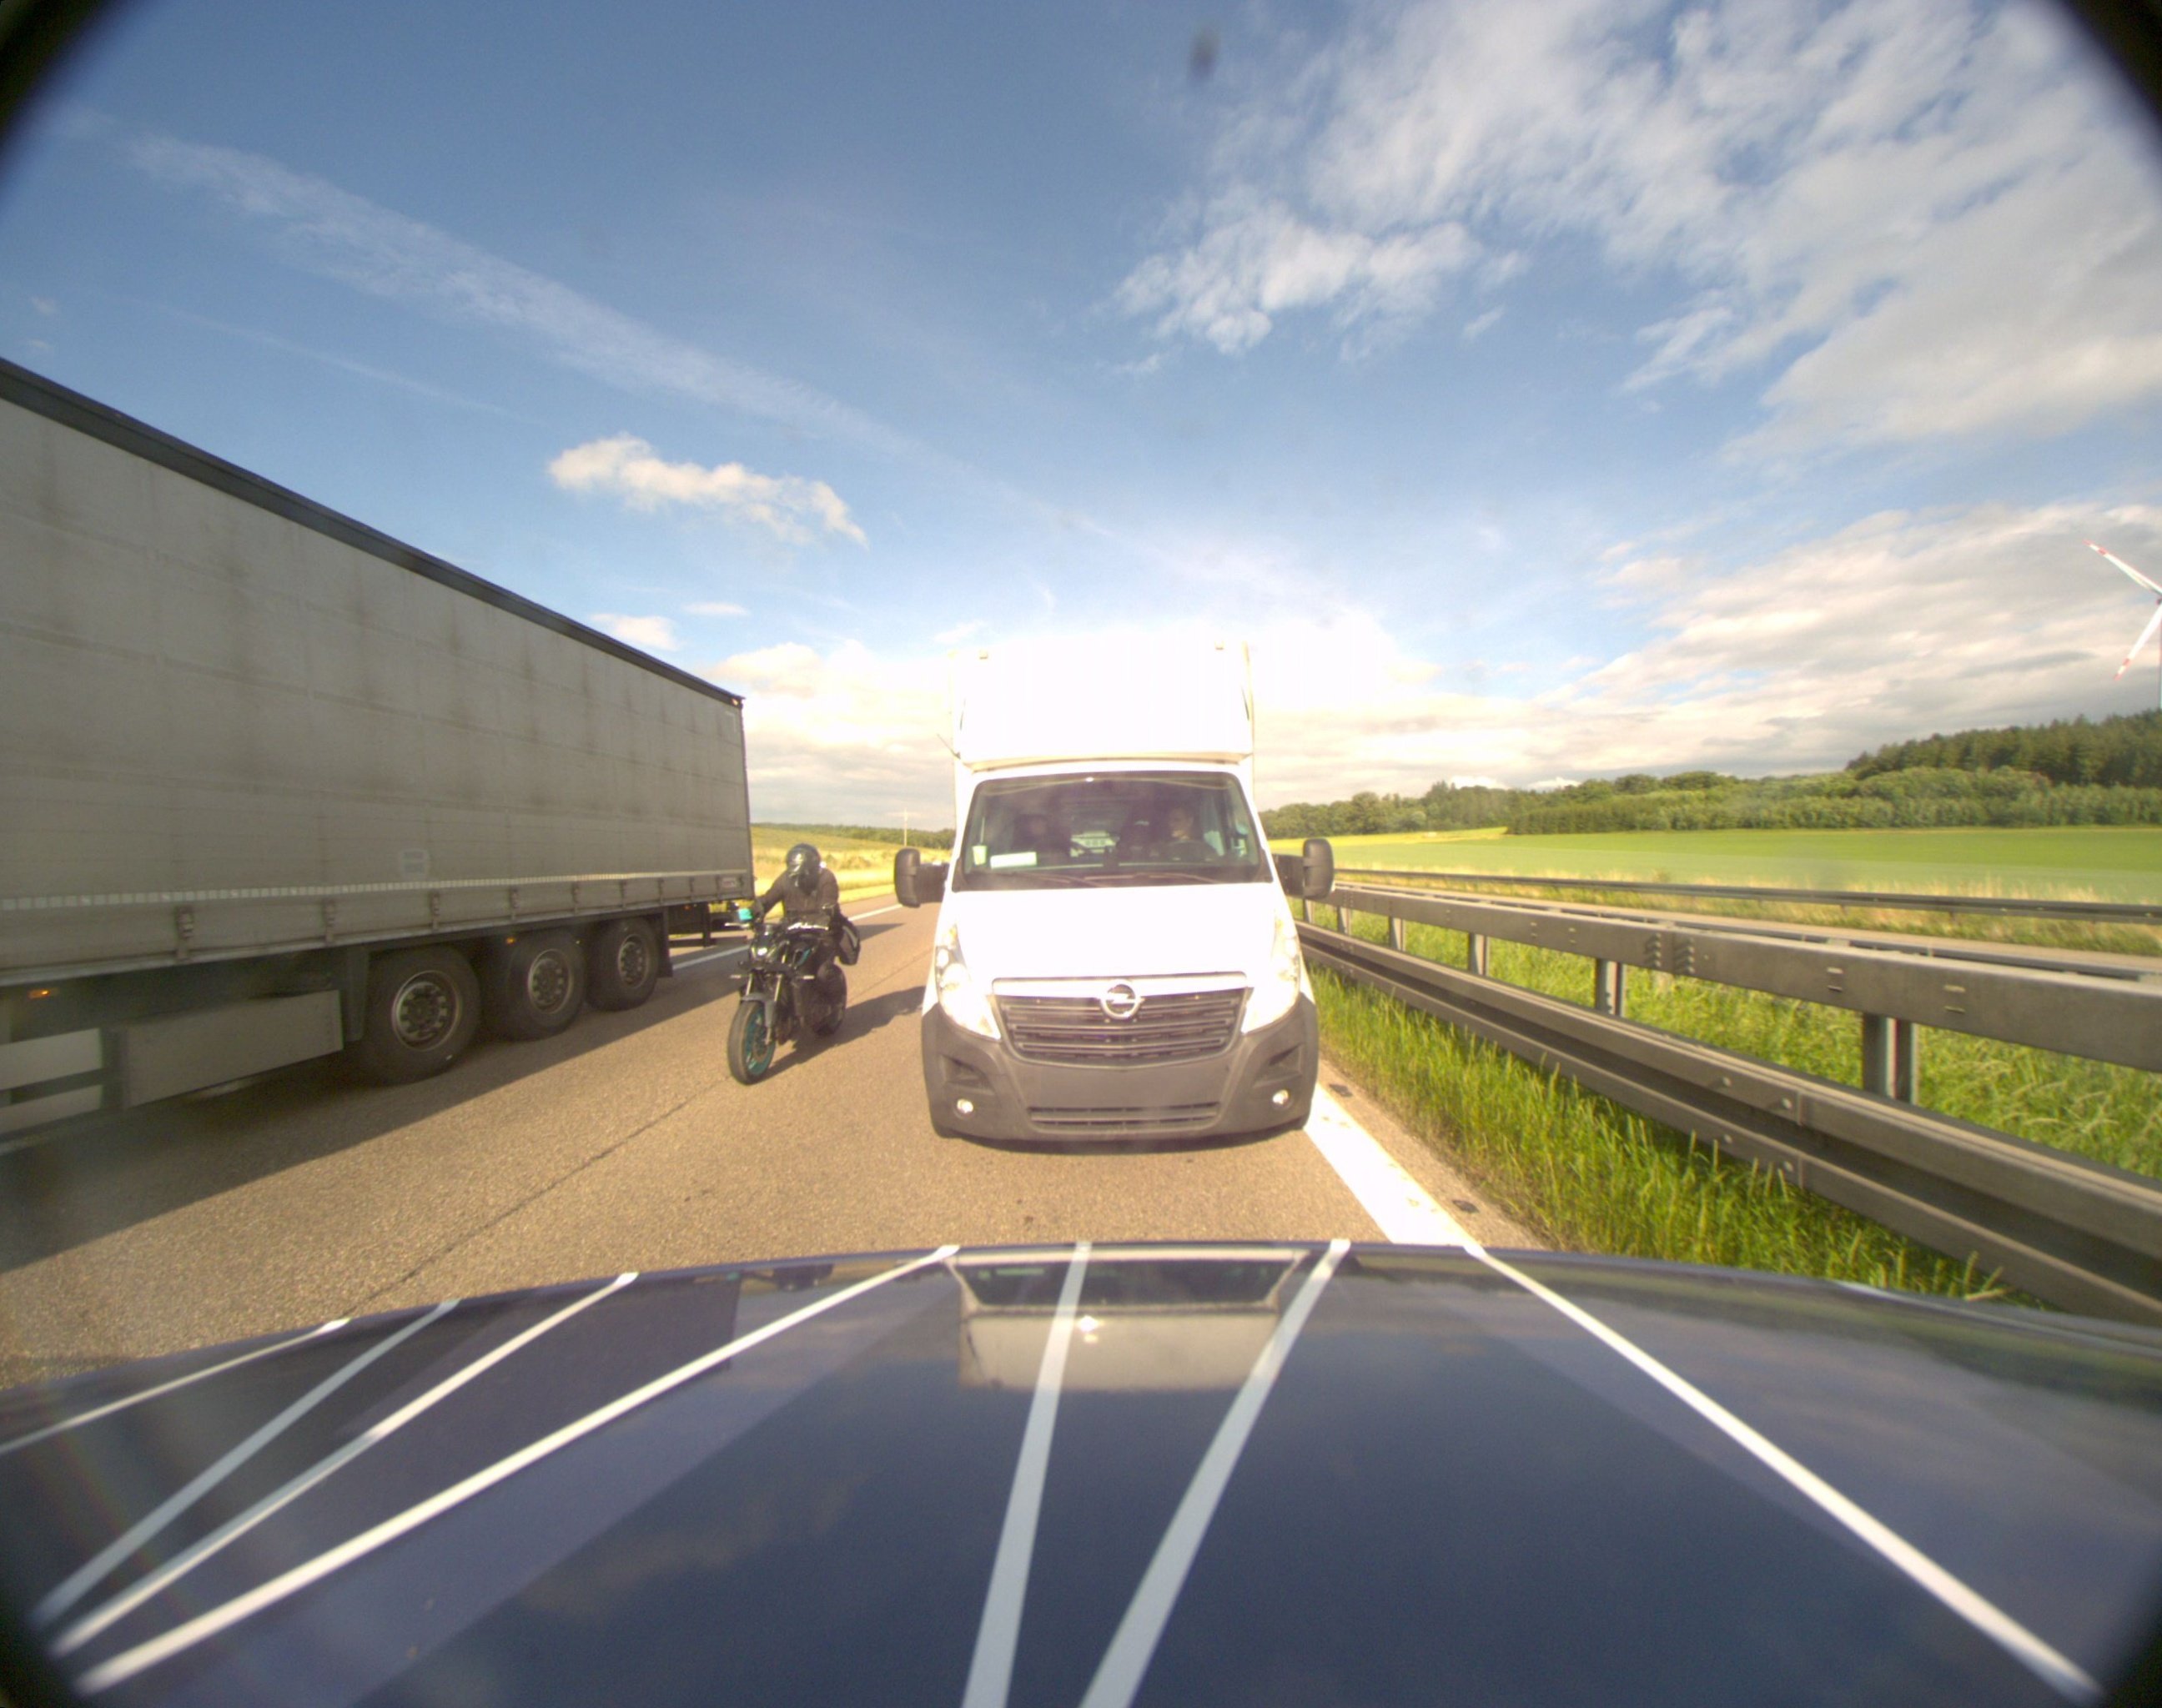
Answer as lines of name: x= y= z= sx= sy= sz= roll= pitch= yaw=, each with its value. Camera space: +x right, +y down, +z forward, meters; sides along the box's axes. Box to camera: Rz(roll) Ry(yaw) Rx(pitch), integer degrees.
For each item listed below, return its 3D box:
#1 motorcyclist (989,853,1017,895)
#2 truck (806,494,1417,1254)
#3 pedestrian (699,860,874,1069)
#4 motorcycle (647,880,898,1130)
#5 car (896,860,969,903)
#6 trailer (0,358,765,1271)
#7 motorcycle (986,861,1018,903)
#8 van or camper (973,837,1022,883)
motorcyclist: x=-2.923 y=0.755 z=28.458 sx=0.898 sy=1.520 sz=0.863 roll=-1 pitch=1 yaw=0
truck: x=0.124 y=0.098 z=8.784 sx=2.502 sy=3.141 sz=11.162 roll=-1 pitch=0 yaw=0
pedestrian: x=-2.216 y=0.789 z=5.869 sx=0.898 sy=1.447 sz=0.983 roll=-1 pitch=1 yaw=2
motorcycle: x=-2.201 y=0.989 z=5.885 sx=0.898 sy=1.447 sz=2.269 roll=-1 pitch=1 yaw=2
car: x=-5.662 y=0.999 z=29.567 sx=1.871 sy=1.409 sz=4.461 roll=-1 pitch=1 yaw=1
trailer: x=-6.058 y=-0.169 z=4.411 sx=2.623 sy=4.017 sz=13.697 roll=-1 pitch=0 yaw=0
motorcycle: x=-2.927 y=1.016 z=28.468 sx=0.898 sy=1.447 sz=2.269 roll=-1 pitch=1 yaw=0
van or camper: x=-4.968 y=0.314 z=46.080 sx=2.102 sy=2.530 sz=6.412 roll=-1 pitch=1 yaw=1
